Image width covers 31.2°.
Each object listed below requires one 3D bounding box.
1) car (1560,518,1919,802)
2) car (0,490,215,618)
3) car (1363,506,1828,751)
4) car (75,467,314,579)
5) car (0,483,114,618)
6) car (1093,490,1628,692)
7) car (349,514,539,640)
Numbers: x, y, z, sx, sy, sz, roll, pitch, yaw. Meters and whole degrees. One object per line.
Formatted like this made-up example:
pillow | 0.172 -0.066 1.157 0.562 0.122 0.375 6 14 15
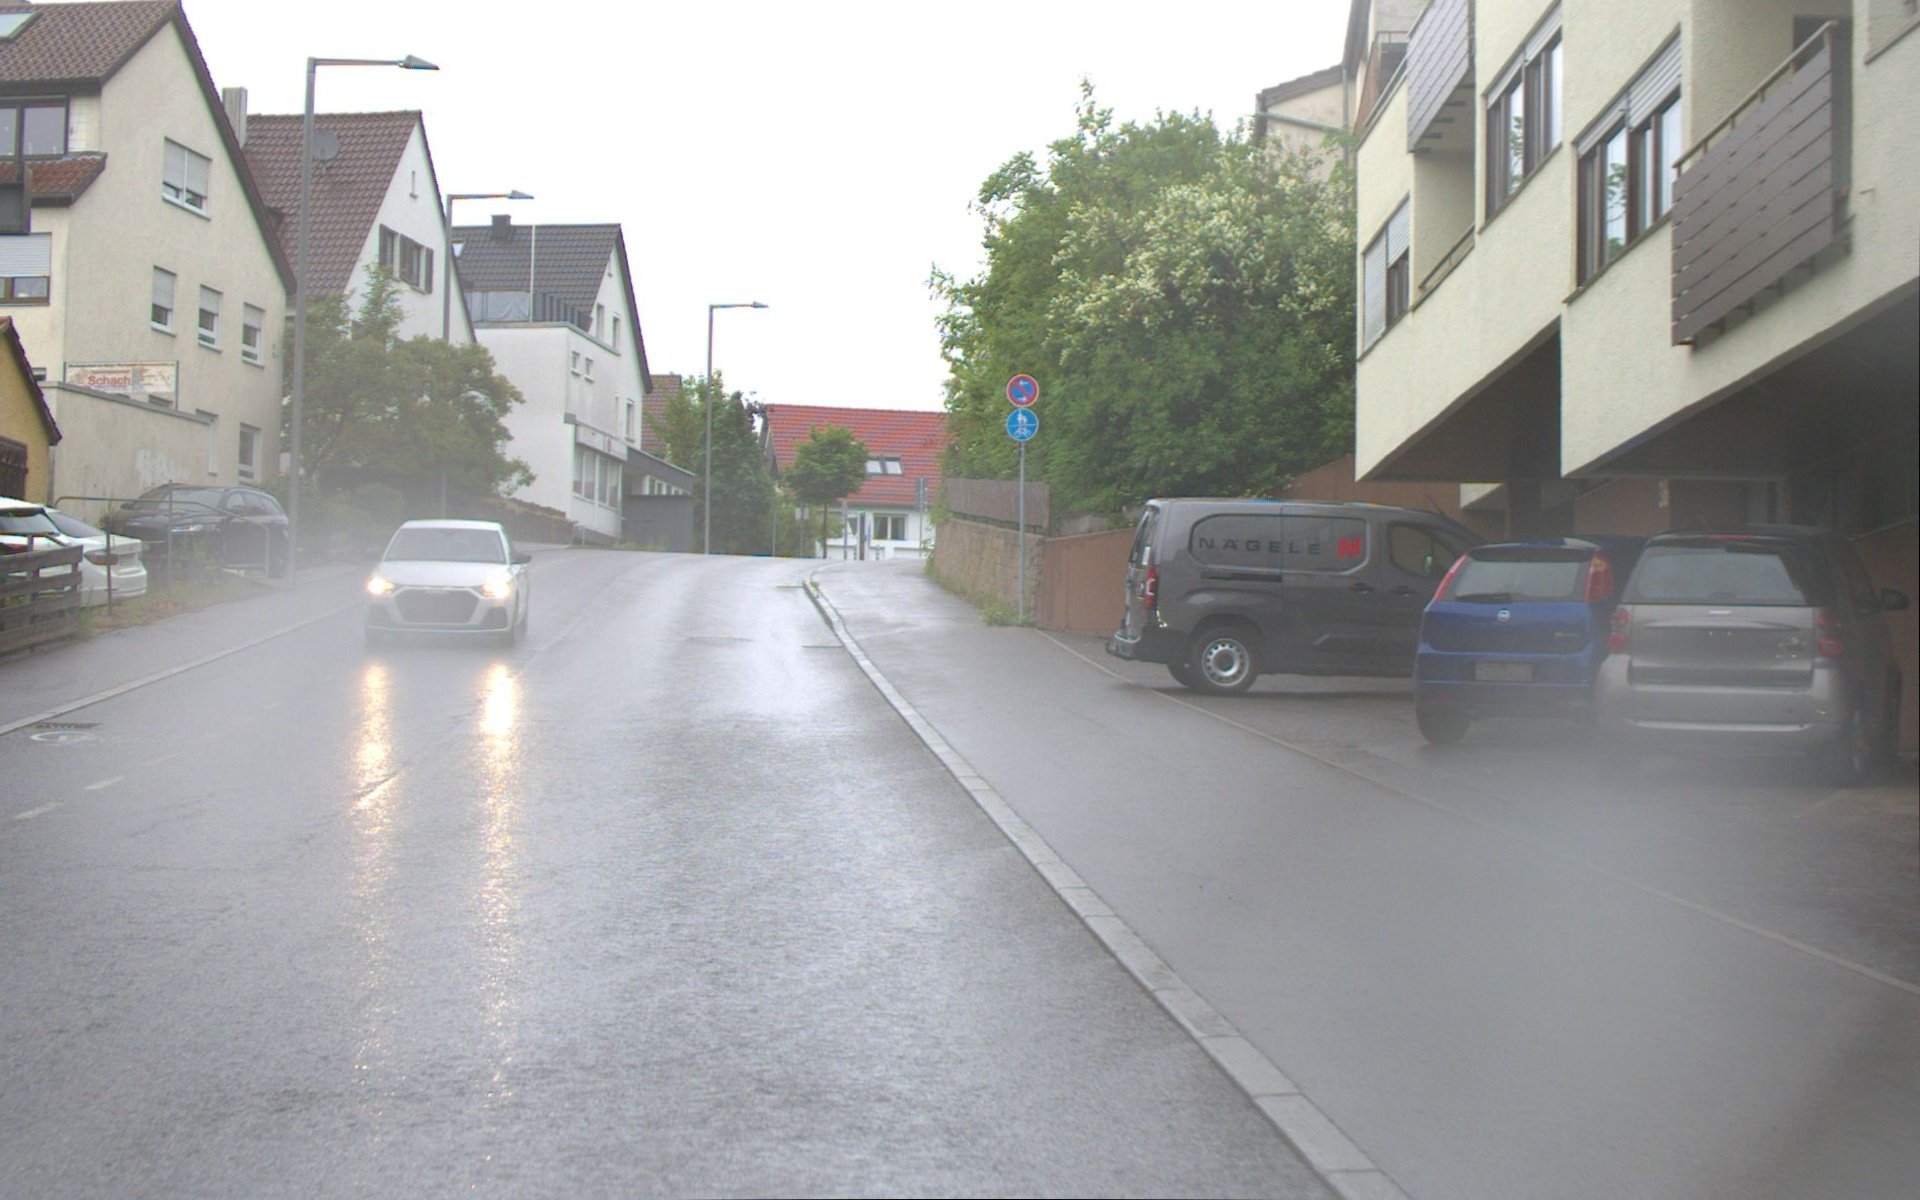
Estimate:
car | 5.280 0.322 22.188 1.784 1.573 4.062 3 2 24
car | -11.699 -0.603 42.473 4.498 1.500 1.900 1 2 8
car | 4.733 0.182 25.176 1.785 1.573 4.059 4 2 34
car | -12.016 -1.235 54.310 1.975 1.653 4.961 1 2 9
car | -12.009 -0.607 39.561 3.988 1.500 1.900 1 2 8
car | 3.713 -0.106 32.462 4.706 1.814 2.000 0 2 -4
car | -6.056 -0.303 40.712 1.702 1.383 4.051 -1 1 -1
